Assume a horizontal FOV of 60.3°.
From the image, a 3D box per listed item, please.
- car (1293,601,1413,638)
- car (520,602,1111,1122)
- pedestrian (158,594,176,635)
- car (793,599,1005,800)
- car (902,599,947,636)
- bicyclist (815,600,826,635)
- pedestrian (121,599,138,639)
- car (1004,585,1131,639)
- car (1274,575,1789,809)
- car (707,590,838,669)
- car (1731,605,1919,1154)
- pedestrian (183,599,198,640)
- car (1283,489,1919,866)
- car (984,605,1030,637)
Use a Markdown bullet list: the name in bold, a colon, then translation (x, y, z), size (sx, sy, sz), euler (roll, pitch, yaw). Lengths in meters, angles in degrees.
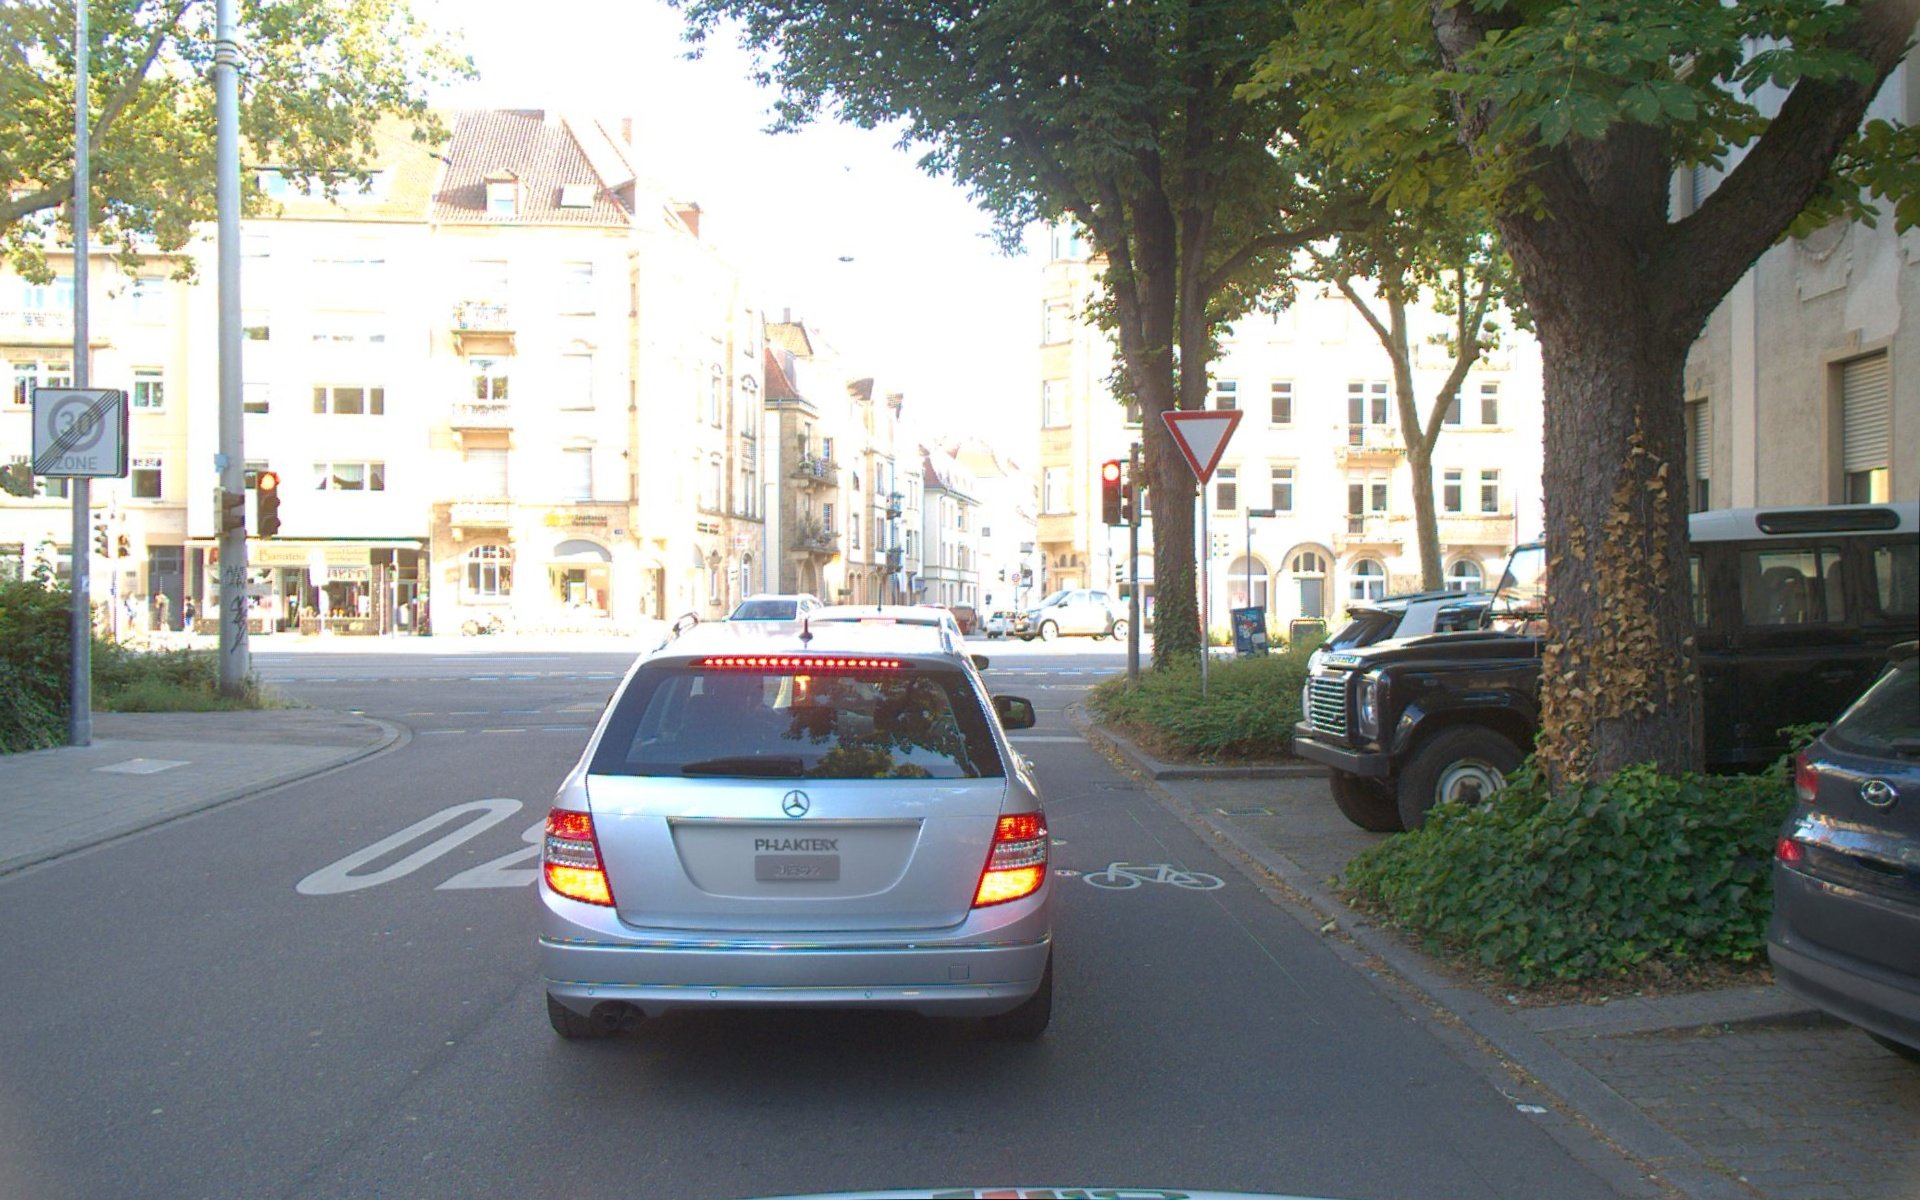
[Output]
- **car**: translation (11.840, 0.567, 49.956), size (3.296, 1.087, 1.380), euler (0, 0, -2)
- **car**: translation (-0.502, 0.758, 6.468), size (1.657, 1.454, 3.490), euler (1, 0, -3)
- **pedestrian**: translation (-29.934, 0.527, 62.404), size (0.557, 1.537, 0.499), euler (0, 0, -20)
- **car**: translation (-0.507, 0.710, 13.616), size (1.502, 1.415, 3.597), euler (0, 0, -2)
- **car**: translation (-1.917, 0.949, 90.724), size (1.896, 1.993, 4.153), euler (0, 0, 7)
- **bicyclist**: translation (-6.188, 0.762, 73.280), size (0.457, 1.547, 0.693), euler (0, 0, -4)
- **pedestrian**: translation (-32.037, 0.742, 63.804), size (0.527, 1.537, 0.507), euler (0, 0, -20)
- **car**: translation (3.244, 0.340, 50.022), size (3.531, 1.527, 1.610), euler (-1, 1, -23)
- **car**: translation (4.394, 0.659, 13.009), size (3.415, 1.614, 1.708), euler (-1, 0, -7)
- **car**: translation (-3.844, 0.566, 34.569), size (1.743, 1.487, 4.303), euler (0, 1, 7)
- **car**: translation (4.357, 0.687, 4.575), size (3.675, 1.446, 1.627), euler (-2, -1, -4)
- **pedestrian**: translation (-29.599, 0.749, 63.617), size (0.466, 1.537, 0.428), euler (0, 0, -21)
- **car**: translation (4.422, 0.401, 10.227), size (4.402, 1.990, 1.791), euler (-2, 0, -4)
- **car**: translation (2.473, 1.071, 85.903), size (1.684, 1.504, 4.004), euler (-2, 0, 11)
